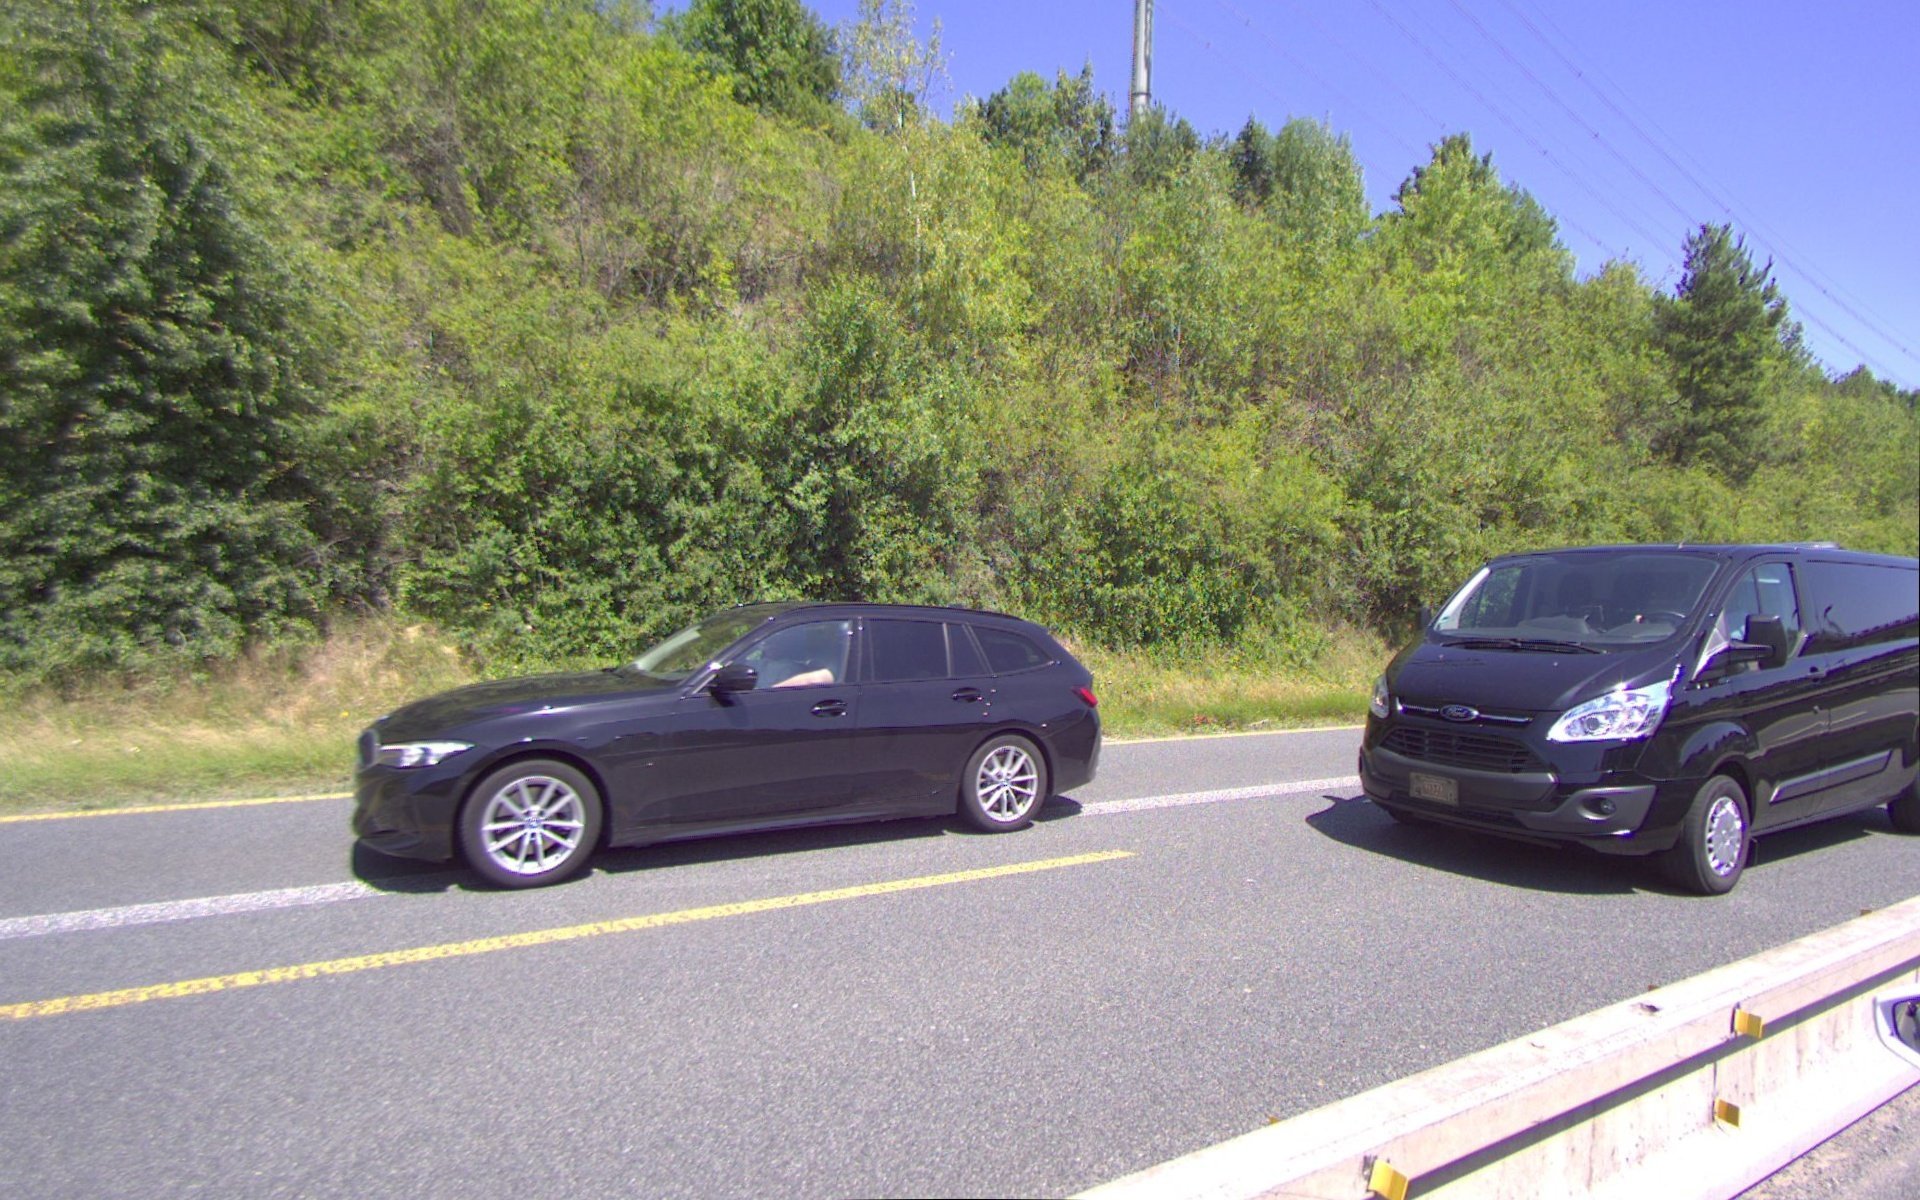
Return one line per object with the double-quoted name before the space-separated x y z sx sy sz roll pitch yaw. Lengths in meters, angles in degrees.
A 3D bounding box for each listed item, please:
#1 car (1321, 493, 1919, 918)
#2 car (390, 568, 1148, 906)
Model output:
"car" 4.858 0.536 6.849 4.762 2.040 1.881 1 1 -31
"car" -1.099 0.652 6.496 4.478 1.545 1.784 1 1 -31
